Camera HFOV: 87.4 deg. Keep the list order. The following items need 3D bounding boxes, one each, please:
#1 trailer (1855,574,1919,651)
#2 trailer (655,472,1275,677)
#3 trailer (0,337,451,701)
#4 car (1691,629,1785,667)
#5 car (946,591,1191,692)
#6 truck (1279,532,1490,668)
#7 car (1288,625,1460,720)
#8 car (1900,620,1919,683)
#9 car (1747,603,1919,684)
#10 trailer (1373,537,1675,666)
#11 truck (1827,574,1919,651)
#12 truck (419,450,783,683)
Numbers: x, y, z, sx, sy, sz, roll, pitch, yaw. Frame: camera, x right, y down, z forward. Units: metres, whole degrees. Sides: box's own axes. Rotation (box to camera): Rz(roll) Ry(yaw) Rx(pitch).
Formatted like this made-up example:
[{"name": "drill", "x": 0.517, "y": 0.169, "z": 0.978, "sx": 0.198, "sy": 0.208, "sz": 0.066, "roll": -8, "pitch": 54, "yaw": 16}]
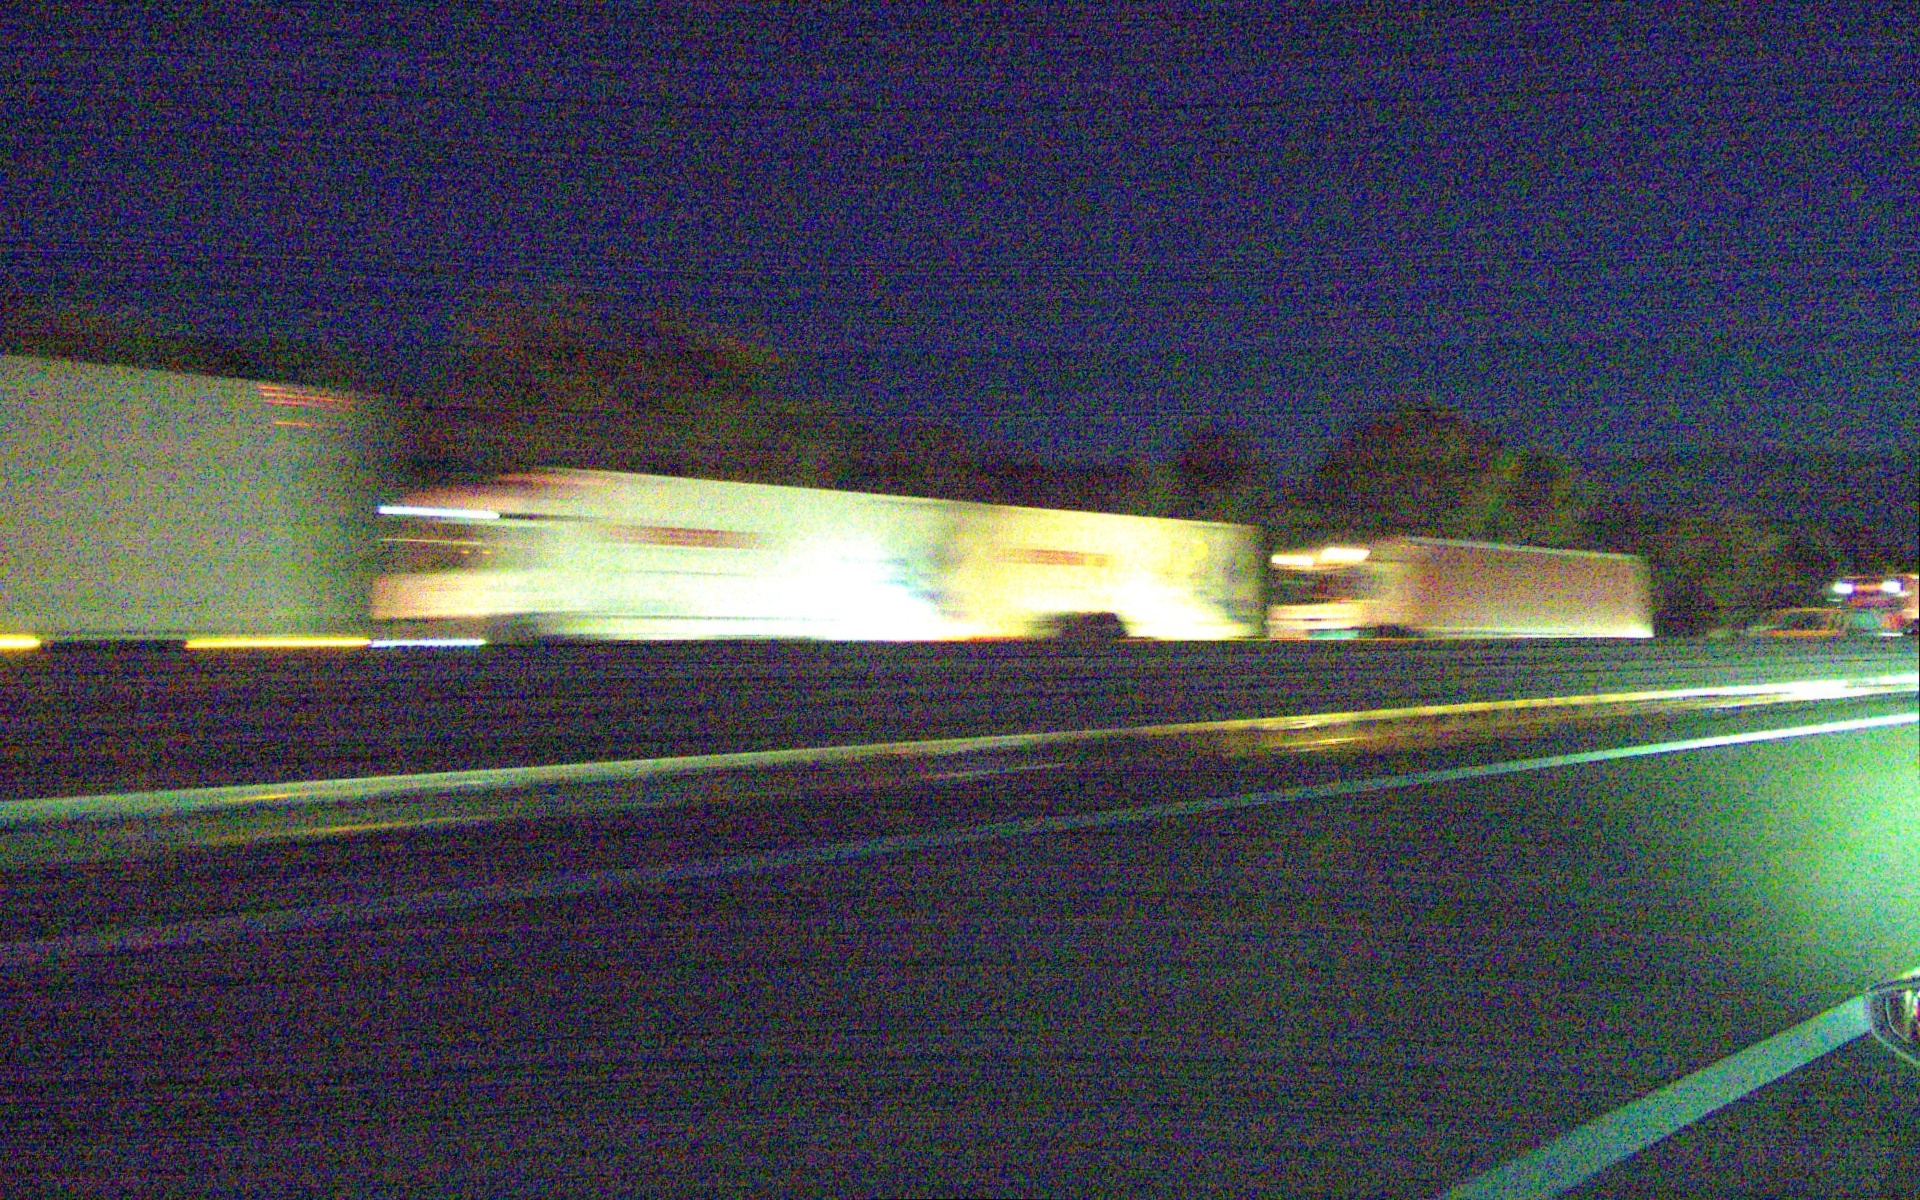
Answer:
[{"name": "trailer", "x": 54.677, "y": 0.919, "z": 55.924, "sx": 14.895, "sy": 3.900, "sz": 2.871, "roll": 3, "pitch": 0, "yaw": -31}, {"name": "trailer", "x": 0.918, "y": -0.339, "z": 23.325, "sx": 15.060, "sy": 3.720, "sz": 2.871, "roll": 1, "pitch": 0, "yaw": -31}, {"name": "trailer", "x": -12.229, "y": -0.925, "z": 10.463, "sx": 12.082, "sy": 3.720, "sz": 2.870, "roll": 3, "pitch": 0, "yaw": -32}, {"name": "car", "x": 39.055, "y": 2.431, "z": 50.410, "sx": 5.265, "sy": 1.706, "sz": 1.983, "roll": 3, "pitch": 0, "yaw": -32}, {"name": "car", "x": 2.148, "y": 0.789, "z": 19.335, "sx": 4.462, "sy": 1.708, "sz": 1.980, "roll": 3, "pitch": 0, "yaw": -35}, {"name": "truck", "x": 12.849, "y": 0.053, "z": 30.321, "sx": 5.980, "sy": 3.722, "sz": 2.860, "roll": 1, "pitch": 0, "yaw": -30}, {"name": "car", "x": 10.072, "y": 1.718, "z": 24.372, "sx": 3.960, "sy": 2.040, "sz": 1.980, "roll": 3, "pitch": 0, "yaw": -35}, {"name": "car", "x": 34.218, "y": 1.823, "z": 34.010, "sx": 5.261, "sy": 2.040, "sz": 1.984, "roll": 3, "pitch": 0, "yaw": -30}, {"name": "car", "x": 24.515, "y": 1.240, "z": 28.155, "sx": 5.261, "sy": 2.040, "sz": 1.984, "roll": 3, "pitch": 0, "yaw": -30}, {"name": "trailer", "x": 19.584, "y": 0.244, "z": 34.329, "sx": 12.898, "sy": 3.720, "sz": 2.871, "roll": 3, "pitch": 0, "yaw": -31}, {"name": "truck", "x": 47.940, "y": 0.710, "z": 51.870, "sx": 6.528, "sy": 3.736, "sz": 2.845, "roll": 3, "pitch": 0, "yaw": -31}, {"name": "truck", "x": -6.661, "y": -0.487, "z": 18.782, "sx": 5.980, "sy": 3.722, "sz": 2.860, "roll": 1, "pitch": 0, "yaw": -30}]
